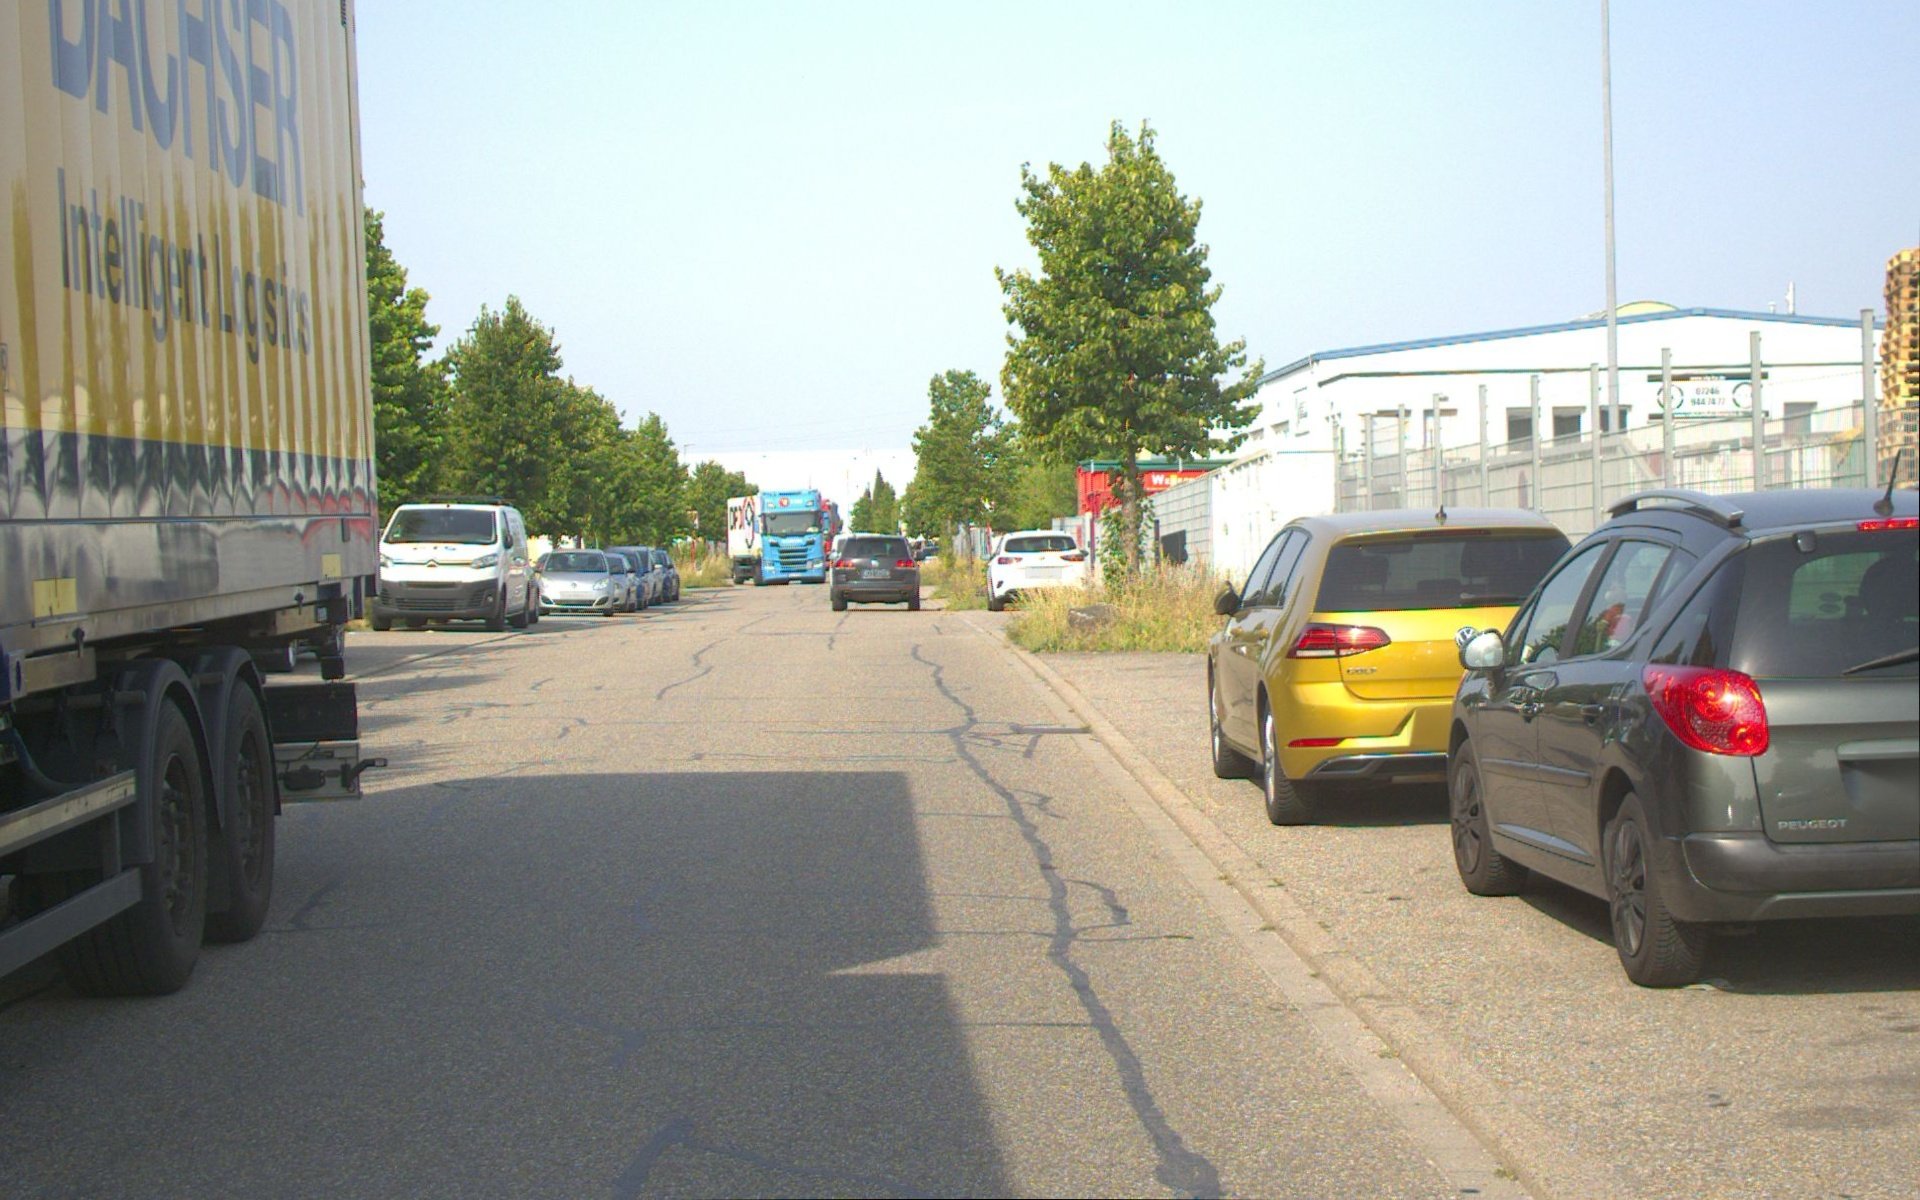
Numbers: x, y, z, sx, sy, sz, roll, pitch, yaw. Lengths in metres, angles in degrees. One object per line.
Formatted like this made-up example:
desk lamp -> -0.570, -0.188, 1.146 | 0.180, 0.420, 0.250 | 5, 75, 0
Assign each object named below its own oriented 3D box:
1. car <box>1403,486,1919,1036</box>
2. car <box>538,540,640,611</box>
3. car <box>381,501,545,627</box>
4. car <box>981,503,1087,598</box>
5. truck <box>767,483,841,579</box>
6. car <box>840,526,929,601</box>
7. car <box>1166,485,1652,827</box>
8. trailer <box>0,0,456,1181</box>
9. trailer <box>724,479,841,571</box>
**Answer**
car -> 2.765, 0.396, 11.742 | 1.714, 1.510, 4.004 | -3, 1, -3
car -> -8.098, -0.554, 75.293 | 1.806, 1.491, 3.936 | -1, 1, 0
car -> -7.245, -0.546, 50.442 | 1.833, 1.756, 4.050 | 1, 1, 0
car -> 1.332, -0.913, 63.230 | 1.714, 1.674, 3.950 | -1, 1, -2
truck -> -6.297, -2.790, 138.568 | 2.878, 3.748, 6.085 | -1, 1, -3
car -> -1.706, -0.823, 76.093 | 1.880, 1.581, 4.114 | -1, 1, -2
car -> 2.139, 0.206, 17.483 | 1.714, 1.450, 4.188 | -3, 1, -2
trailer -> -3.595, -0.799, 11.850 | 2.498, 4.131, 8.498 | -3, 1, -2
trailer -> -7.691, -3.173, 146.987 | 2.878, 3.748, 12.082 | -1, 1, -13
